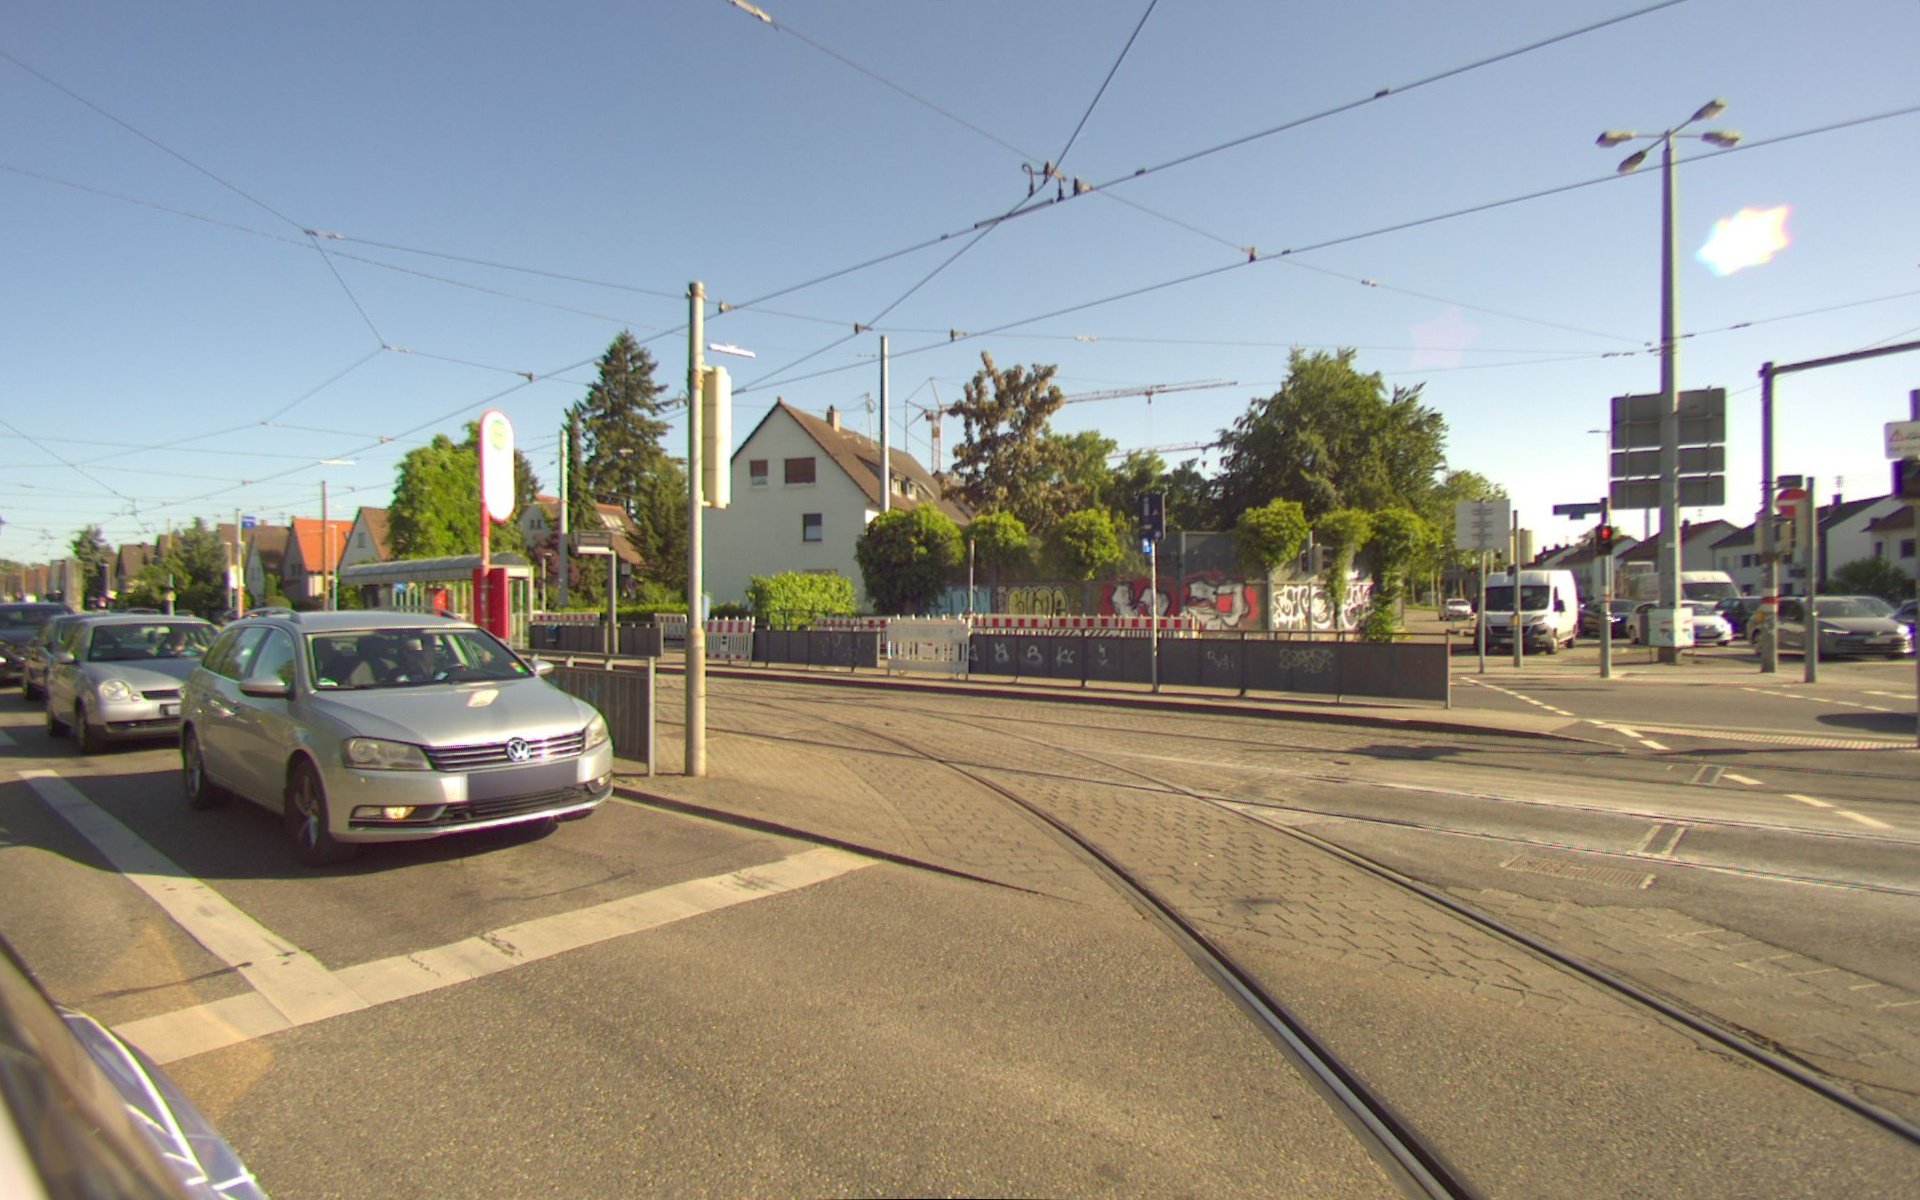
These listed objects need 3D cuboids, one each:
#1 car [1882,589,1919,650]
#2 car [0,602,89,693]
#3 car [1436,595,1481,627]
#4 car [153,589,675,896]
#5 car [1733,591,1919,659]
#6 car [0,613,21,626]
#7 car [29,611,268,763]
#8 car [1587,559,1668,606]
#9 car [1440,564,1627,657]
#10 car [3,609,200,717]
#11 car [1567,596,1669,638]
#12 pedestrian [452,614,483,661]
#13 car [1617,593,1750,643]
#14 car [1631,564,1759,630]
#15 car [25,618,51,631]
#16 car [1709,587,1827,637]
[{"bbox_3d":[24.029,0.460,23.578,1.919,1.477,4.230,-1,0,14],"label":"car"},{"bbox_3d":[-19.407,0.918,20.657,4.298,1.709,1.862,-1,-1,41],"label":"car"},{"bbox_3d":[33.647,0.742,68.420,1.982,2.029,3.979,-1,-1,16],"label":"car"},{"bbox_3d":[-4.100,0.749,7.242,4.418,1.539,1.857,-1,-1,41],"label":"car"},{"bbox_3d":[20.746,0.568,24.340,1.656,1.488,4.615,-1,-1,14],"label":"car"},{"bbox_3d":[-131.272,2.684,139.851,4.000,1.785,1.972,-1,-1,43],"label":"car"},{"bbox_3d":[-9.462,0.894,11.724,3.412,1.479,1.565,-1,0,41],"label":"car"},{"bbox_3d":[30.587,-0.757,46.504,1.790,2.029,3.983,-1,-1,13],"label":"car"},{"bbox_3d":[17.106,0.281,30.000,6.759,2.476,2.354,0,-1,-37],"label":"car"},{"bbox_3d":[-14.100,0.945,16.547,4.190,1.546,1.733,-1,-1,39],"label":"car"},{"bbox_3d":[24.944,0.630,38.572,1.919,1.477,4.240,-1,-1,14],"label":"car"},{"bbox_3d":[-15.517,1.169,31.872,0.710,1.425,0.615,-1,-1,40],"label":"pedestrian"},{"bbox_3d":[22.772,0.548,32.069,1.919,1.477,4.346,-1,-1,14],"label":"car"},{"bbox_3d":[29.291,-0.067,40.612,2.161,2.429,5.891,-1,-1,16],"label":"car"},{"bbox_3d":[-109.233,2.884,119.905,4.000,1.475,1.972,-1,-1,43],"label":"car"},{"bbox_3d":[27.132,0.404,34.151,1.648,1.586,3.979,-1,-1,16],"label":"car"}]
